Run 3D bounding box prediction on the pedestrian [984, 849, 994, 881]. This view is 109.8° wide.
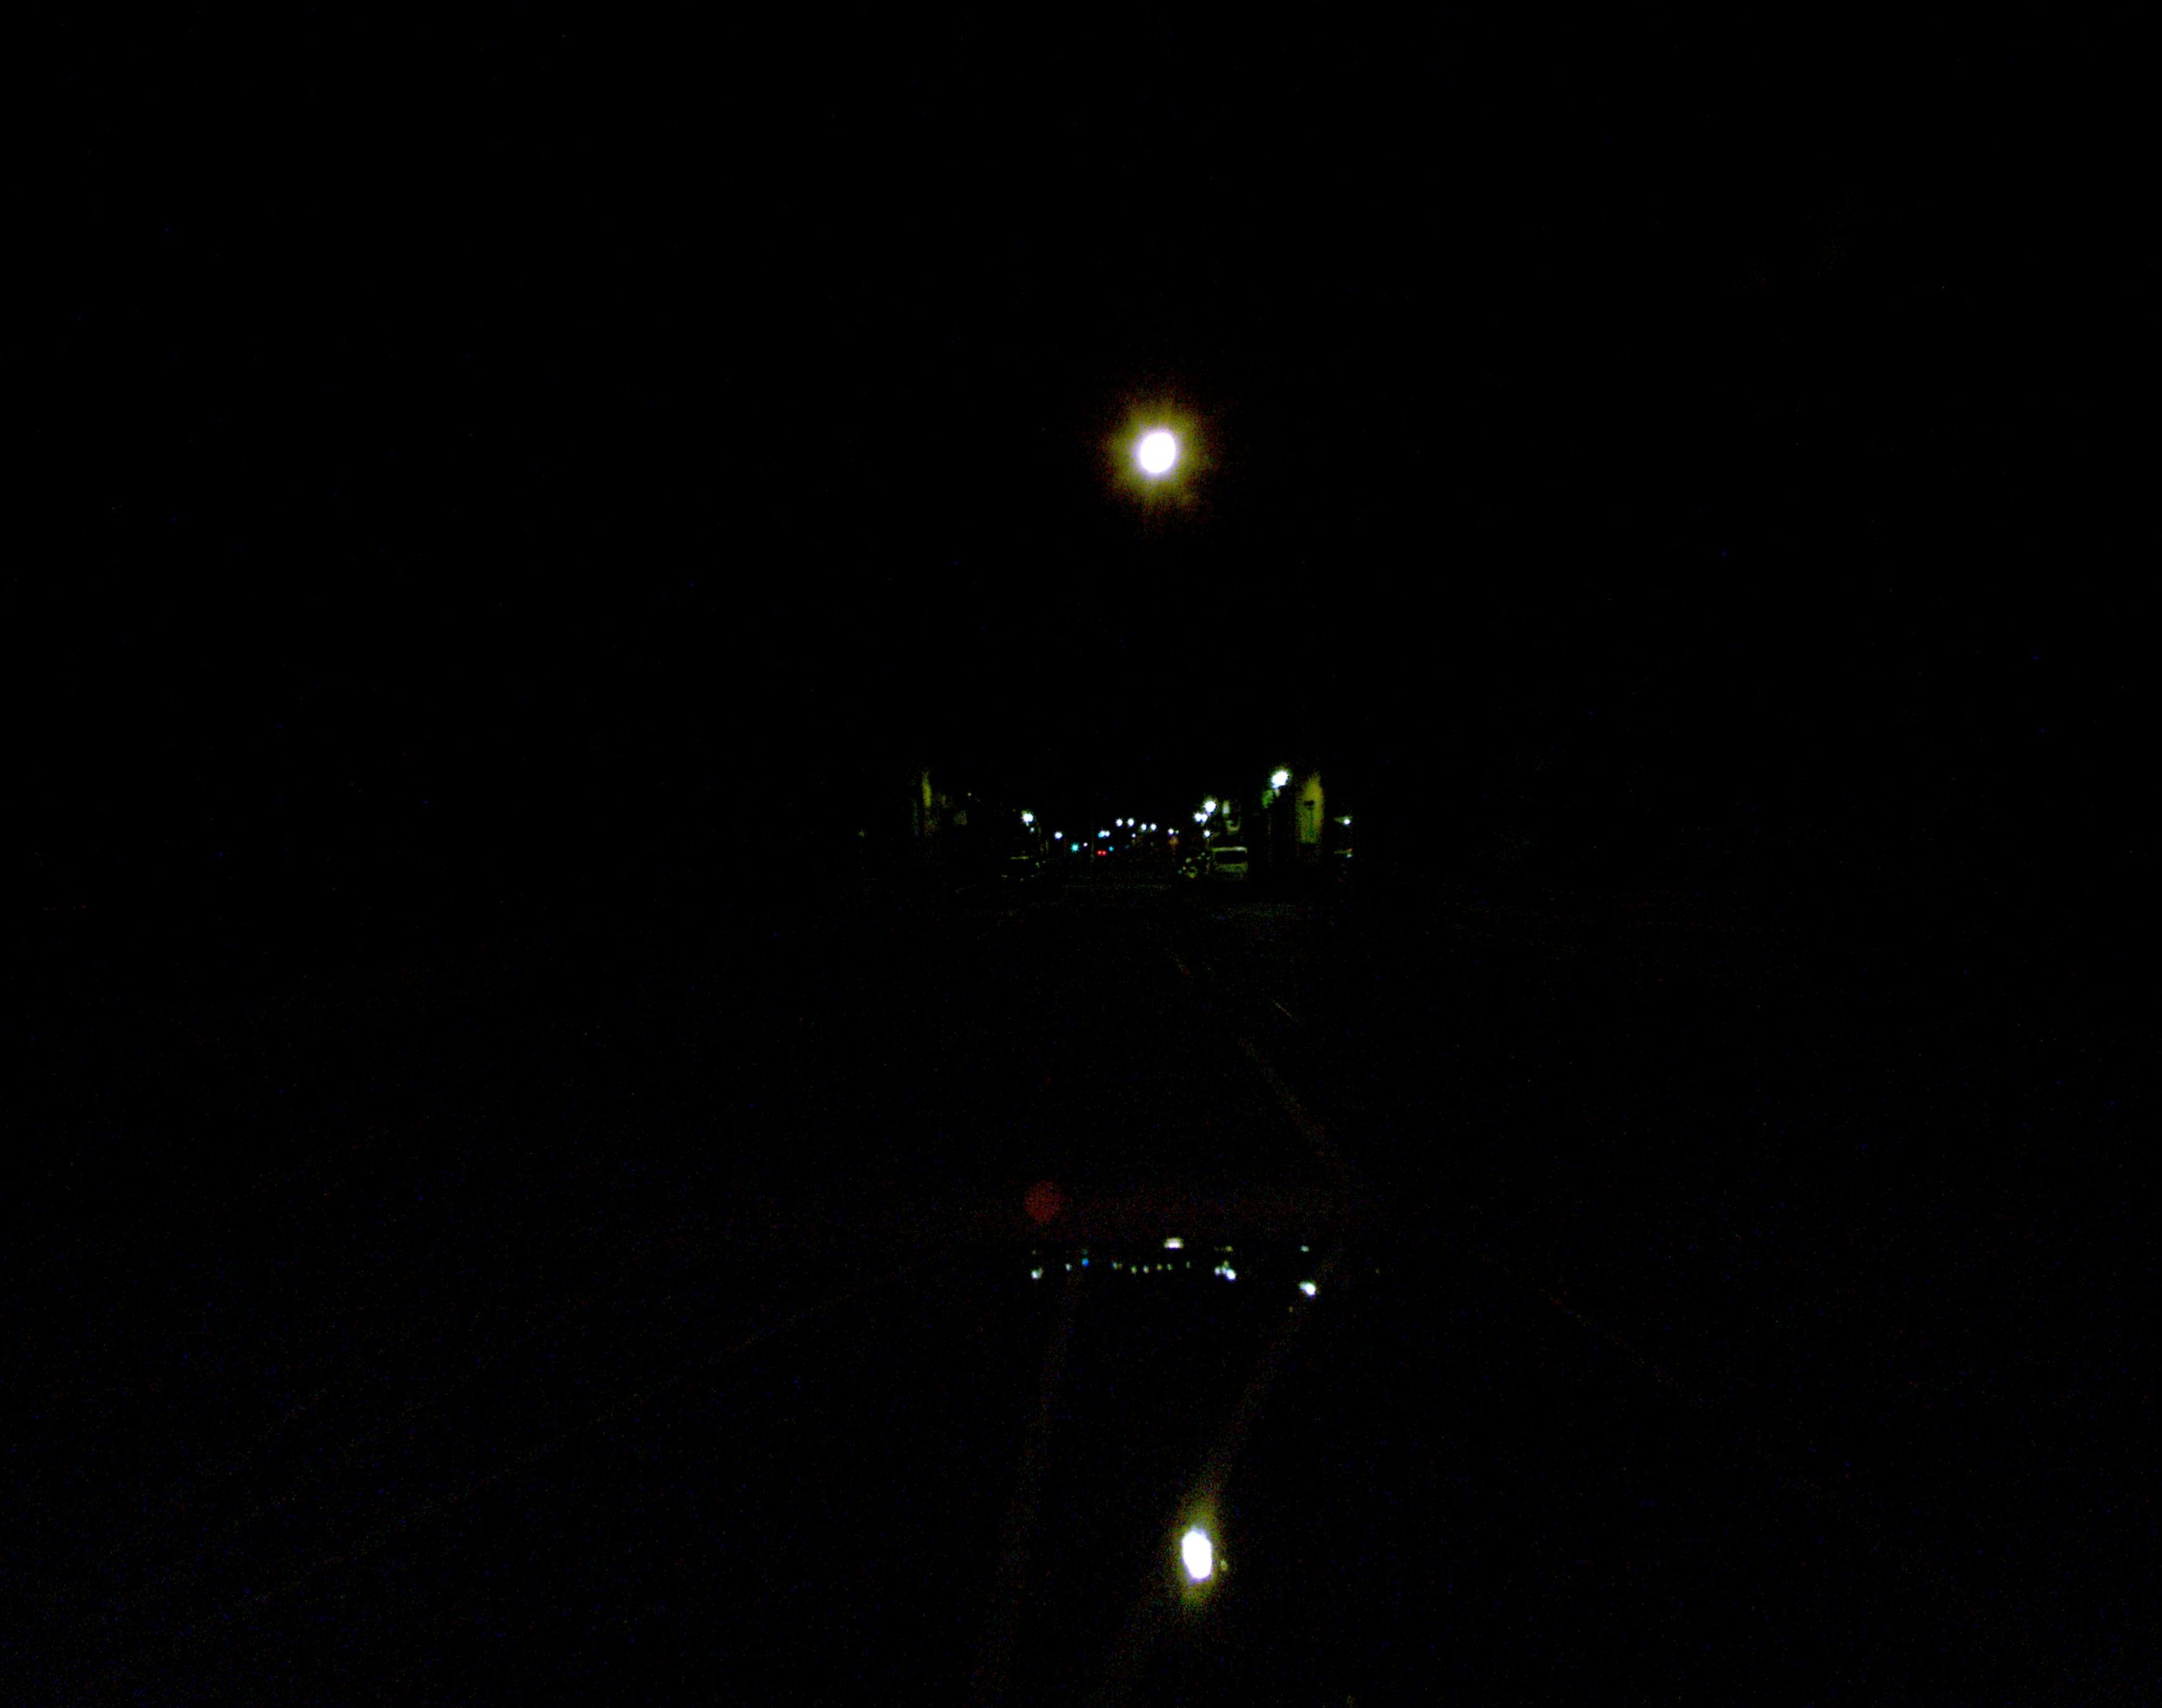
[{"bbox_3d":[-4.973,0.594,41.080,0.477,1.699,0.571,0,1,2],"label":"pedestrian"}]

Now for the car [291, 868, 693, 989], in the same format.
[{"bbox_3d":[-7.855,0.954,10.459,4.024,1.414,1.851,0,2,-1],"label":"car"}]

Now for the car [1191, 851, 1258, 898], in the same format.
[{"bbox_3d":[5.960,0.798,32.116,1.887,1.832,4.814,-1,0,0],"label":"car"}]

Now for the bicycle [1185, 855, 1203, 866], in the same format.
[{"bbox_3d":[11.526,0.656,77.656,1.772,1.144,0.615,0,1,43],"label":"bicycle"}]

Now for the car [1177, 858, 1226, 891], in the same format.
[{"bbox_3d":[5.911,0.974,37.773,1.843,1.441,4.881,-1,1,2],"label":"car"}]

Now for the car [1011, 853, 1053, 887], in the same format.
[{"bbox_3d":[-2.358,0.742,37.307,1.736,1.492,4.467,2,0,0],"label":"car"}]

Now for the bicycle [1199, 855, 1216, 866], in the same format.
[{"bbox_3d":[13.139,0.646,78.897,0.583,1.144,1.772,-1,1,-41],"label":"bicycle"}]

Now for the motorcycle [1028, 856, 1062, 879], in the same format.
[{"bbox_3d":[-2.155,0.810,45.441,1.948,1.345,0.761,0,1,-34],"label":"motorcycle"}]

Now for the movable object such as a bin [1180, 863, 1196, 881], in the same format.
[{"bbox_3d":[6.372,1.075,45.174,0.691,1.043,0.624,-3,2,-39],"label":"movable object such as a bin"}]

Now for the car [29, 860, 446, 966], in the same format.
[{"bbox_3d":[-12.634,0.846,11.635,4.202,1.459,1.852,0,1,-2],"label":"car"}]

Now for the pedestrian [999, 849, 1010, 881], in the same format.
[{"bbox_3d":[-4.128,0.599,41.129,0.508,1.699,0.705,0,1,2],"label":"pedestrian"}]

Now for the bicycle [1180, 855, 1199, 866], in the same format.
[{"bbox_3d":[10.957,0.659,77.056,1.783,1.144,0.761,0,1,43],"label":"bicycle"}]

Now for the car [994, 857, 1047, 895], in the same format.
[{"bbox_3d":[-2.482,0.873,32.048,1.740,1.446,4.001,0,0,3],"label":"car"}]

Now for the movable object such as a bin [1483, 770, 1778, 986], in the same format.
[{"bbox_3d":[7.709,0.283,11.187,1.575,2.611,3.910,0,0,2],"label":"movable object such as a bin"}]
